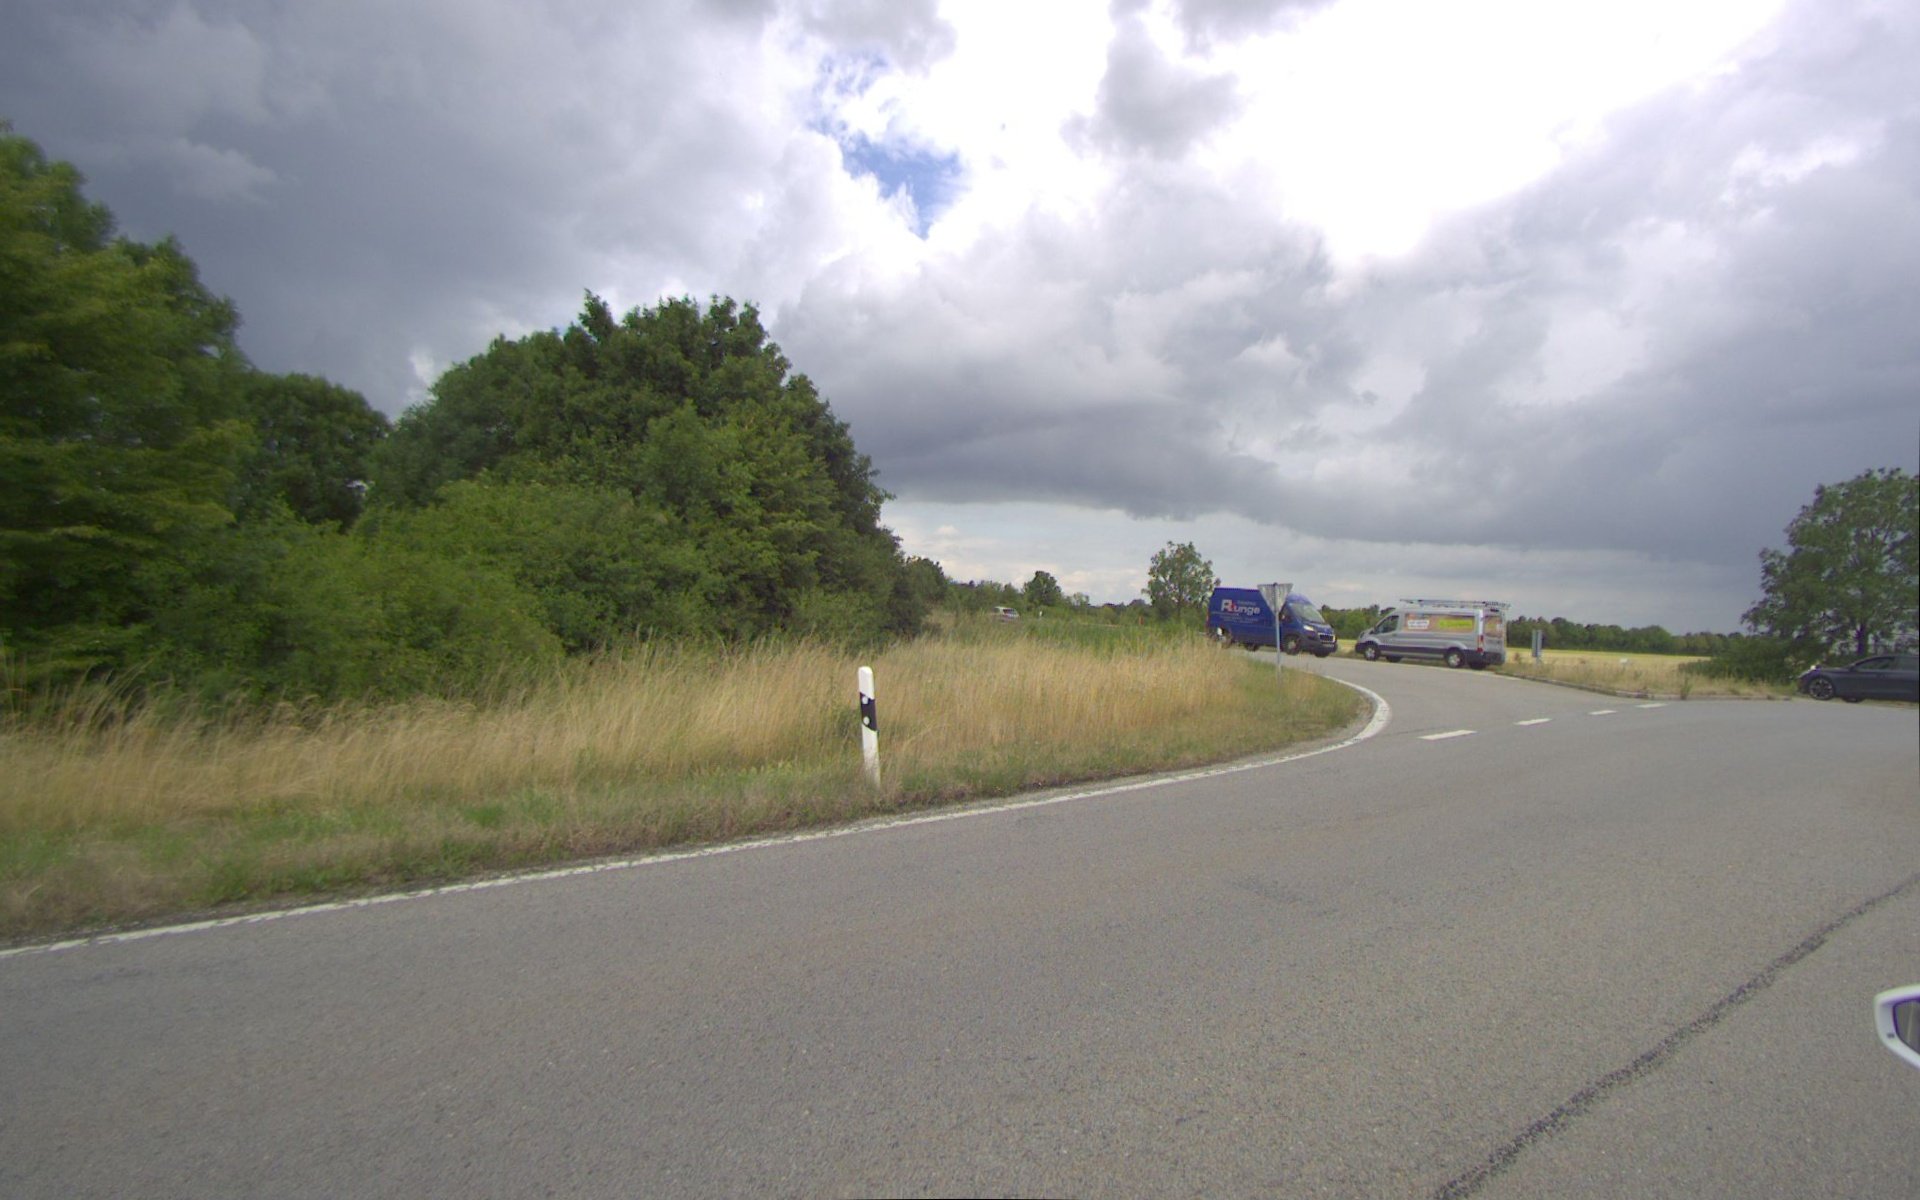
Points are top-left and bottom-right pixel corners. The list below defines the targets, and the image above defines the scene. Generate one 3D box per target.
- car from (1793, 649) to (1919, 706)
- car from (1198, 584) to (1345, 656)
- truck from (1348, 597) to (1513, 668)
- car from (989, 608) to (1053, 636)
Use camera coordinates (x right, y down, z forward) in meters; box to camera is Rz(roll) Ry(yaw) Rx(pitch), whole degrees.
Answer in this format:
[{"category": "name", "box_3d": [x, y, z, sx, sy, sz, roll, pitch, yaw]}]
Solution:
[{"category": "car", "box_3d": [25.656, 2.127, 27.329, 1.658, 1.362, 4.330, 2, -1, -24]}, {"category": "car", "box_3d": [12.362, 0.746, 40.266, 2.126, 2.674, 5.520, 2, -1, -32]}, {"category": "truck", "box_3d": [19.475, 1.277, 41.904, 2.047, 2.739, 5.980, 2, -1, -37]}, {"category": "car", "box_3d": [3.902, 1.390, 64.420, 1.983, 1.684, 3.956, 2, -1, -38]}]
